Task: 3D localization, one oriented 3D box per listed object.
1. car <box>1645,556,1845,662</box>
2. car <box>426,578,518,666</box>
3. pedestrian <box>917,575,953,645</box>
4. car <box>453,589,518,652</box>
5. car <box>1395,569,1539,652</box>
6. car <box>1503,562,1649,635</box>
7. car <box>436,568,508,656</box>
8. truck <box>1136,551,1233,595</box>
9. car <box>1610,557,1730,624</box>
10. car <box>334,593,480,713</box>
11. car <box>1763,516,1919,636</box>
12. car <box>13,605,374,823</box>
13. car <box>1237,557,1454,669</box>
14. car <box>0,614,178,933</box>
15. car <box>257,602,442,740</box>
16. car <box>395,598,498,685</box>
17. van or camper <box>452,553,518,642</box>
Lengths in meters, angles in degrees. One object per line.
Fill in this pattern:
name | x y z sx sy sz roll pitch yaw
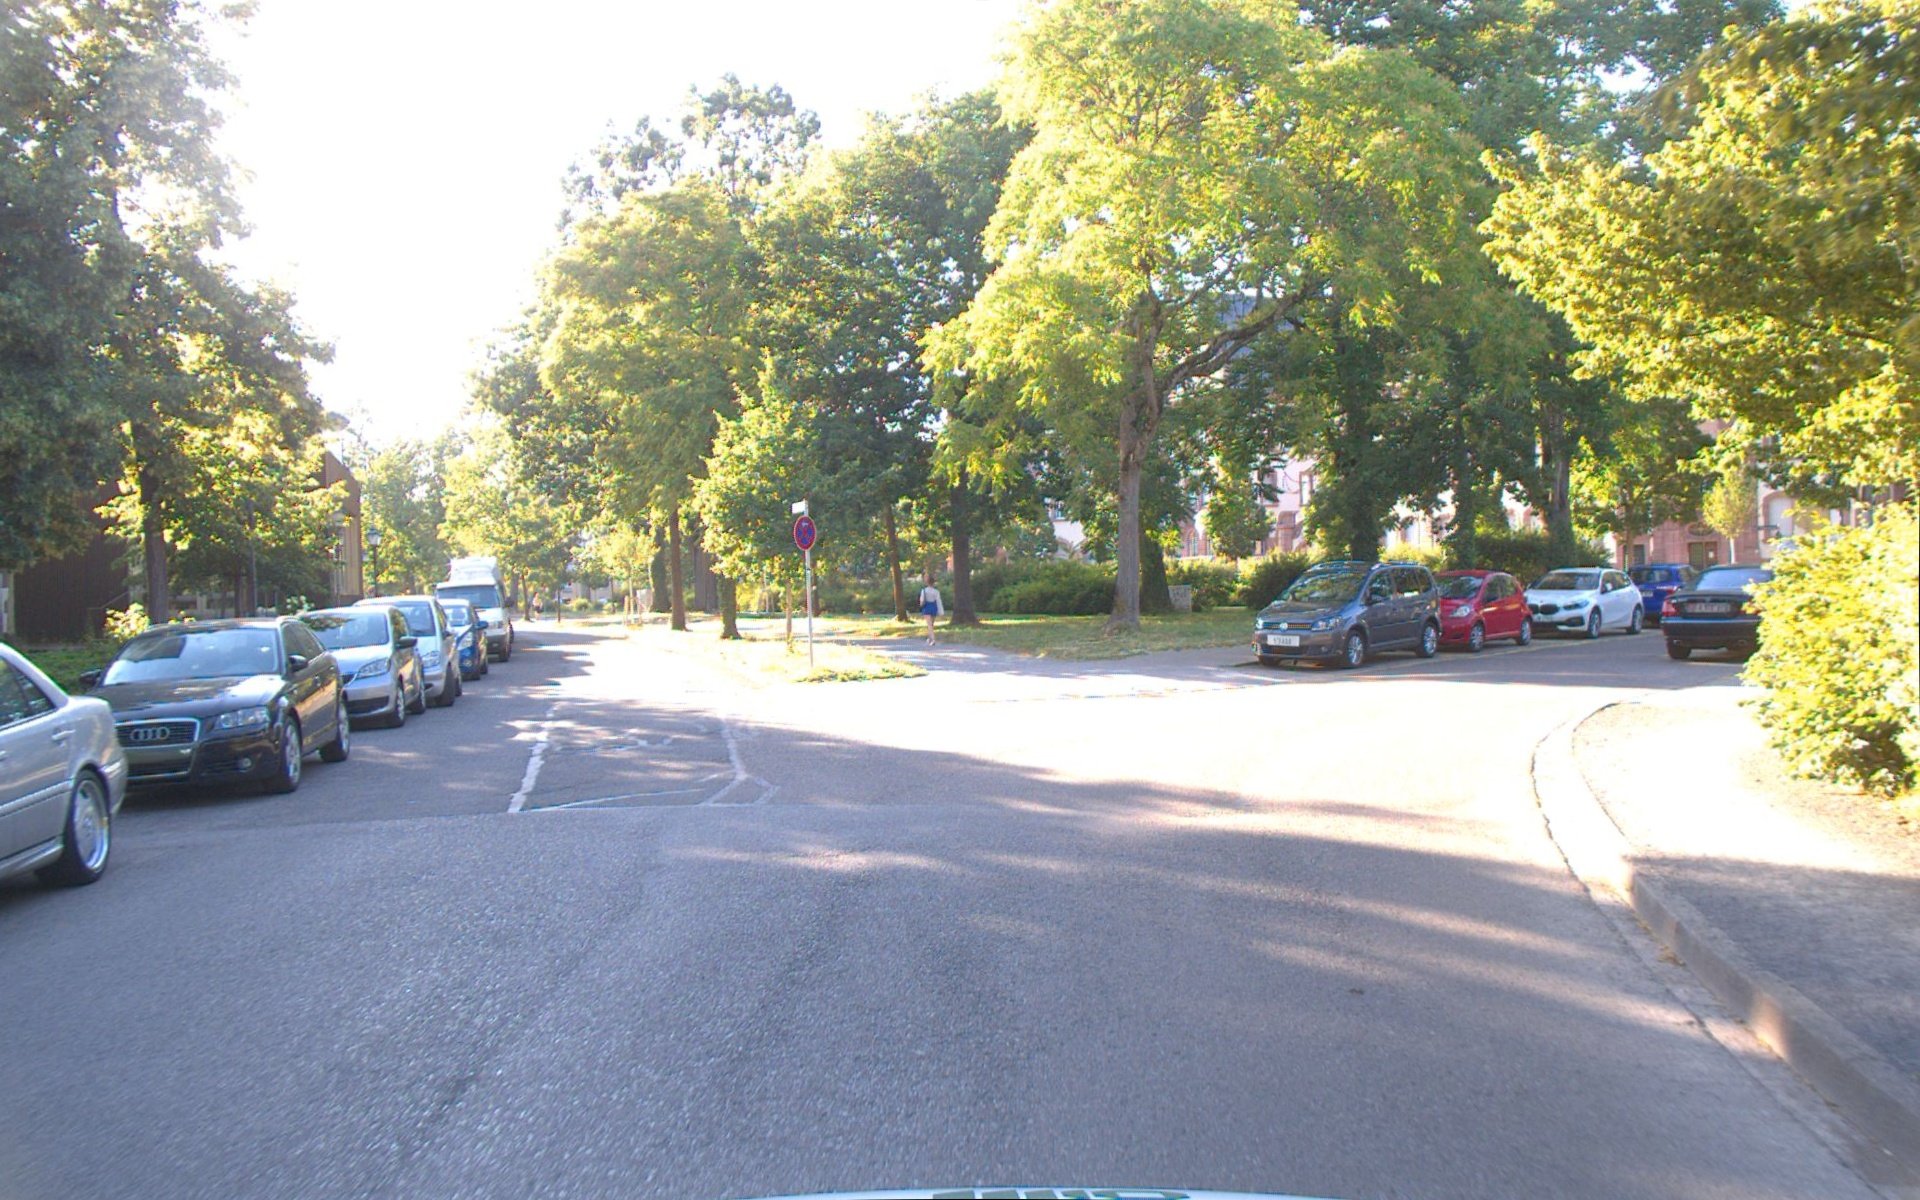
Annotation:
car | 12.571 0.090 26.308 1.738 1.493 4.841 -1 1 40
car | -12.039 0.495 41.029 1.819 1.980 4.825 -2 1 -13
pedestrian | -0.596 0.227 39.287 0.758 1.602 0.767 -2 0 -3
car | -15.606 0.629 54.280 1.823 1.918 4.122 -2 1 -18
car | 9.735 0.158 31.643 1.367 1.448 3.406 1 2 42
car | 13.400 -0.072 35.862 1.666 1.430 3.951 1 2 42
car | -14.462 0.329 48.841 1.823 2.397 5.159 -2 1 -18
truck | 16.519 -1.980 122.306 2.580 3.082 7.918 -2 1 -33
car | 17.357 -0.278 40.362 1.614 1.521 3.683 1 2 42
car | -8.241 0.729 24.890 1.675 1.606 3.684 -2 1 -13
car | 16.690 -0.475 30.837 1.922 2.049 5.127 -1 1 40
car | -6.490 0.846 14.568 1.793 1.440 4.482 -4 1 -11
car | 6.599 0.154 28.023 1.775 1.704 4.295 1 2 42
car | -5.421 0.893 7.871 1.747 1.440 4.489 -4 1 -9
car | -7.657 0.823 21.031 1.584 1.465 3.595 -3 1 -12
car | -9.973 0.767 32.300 1.588 1.527 3.684 -2 1 -13
van or camper | -17.030 -0.103 59.494 2.056 2.958 6.305 -2 1 -15
